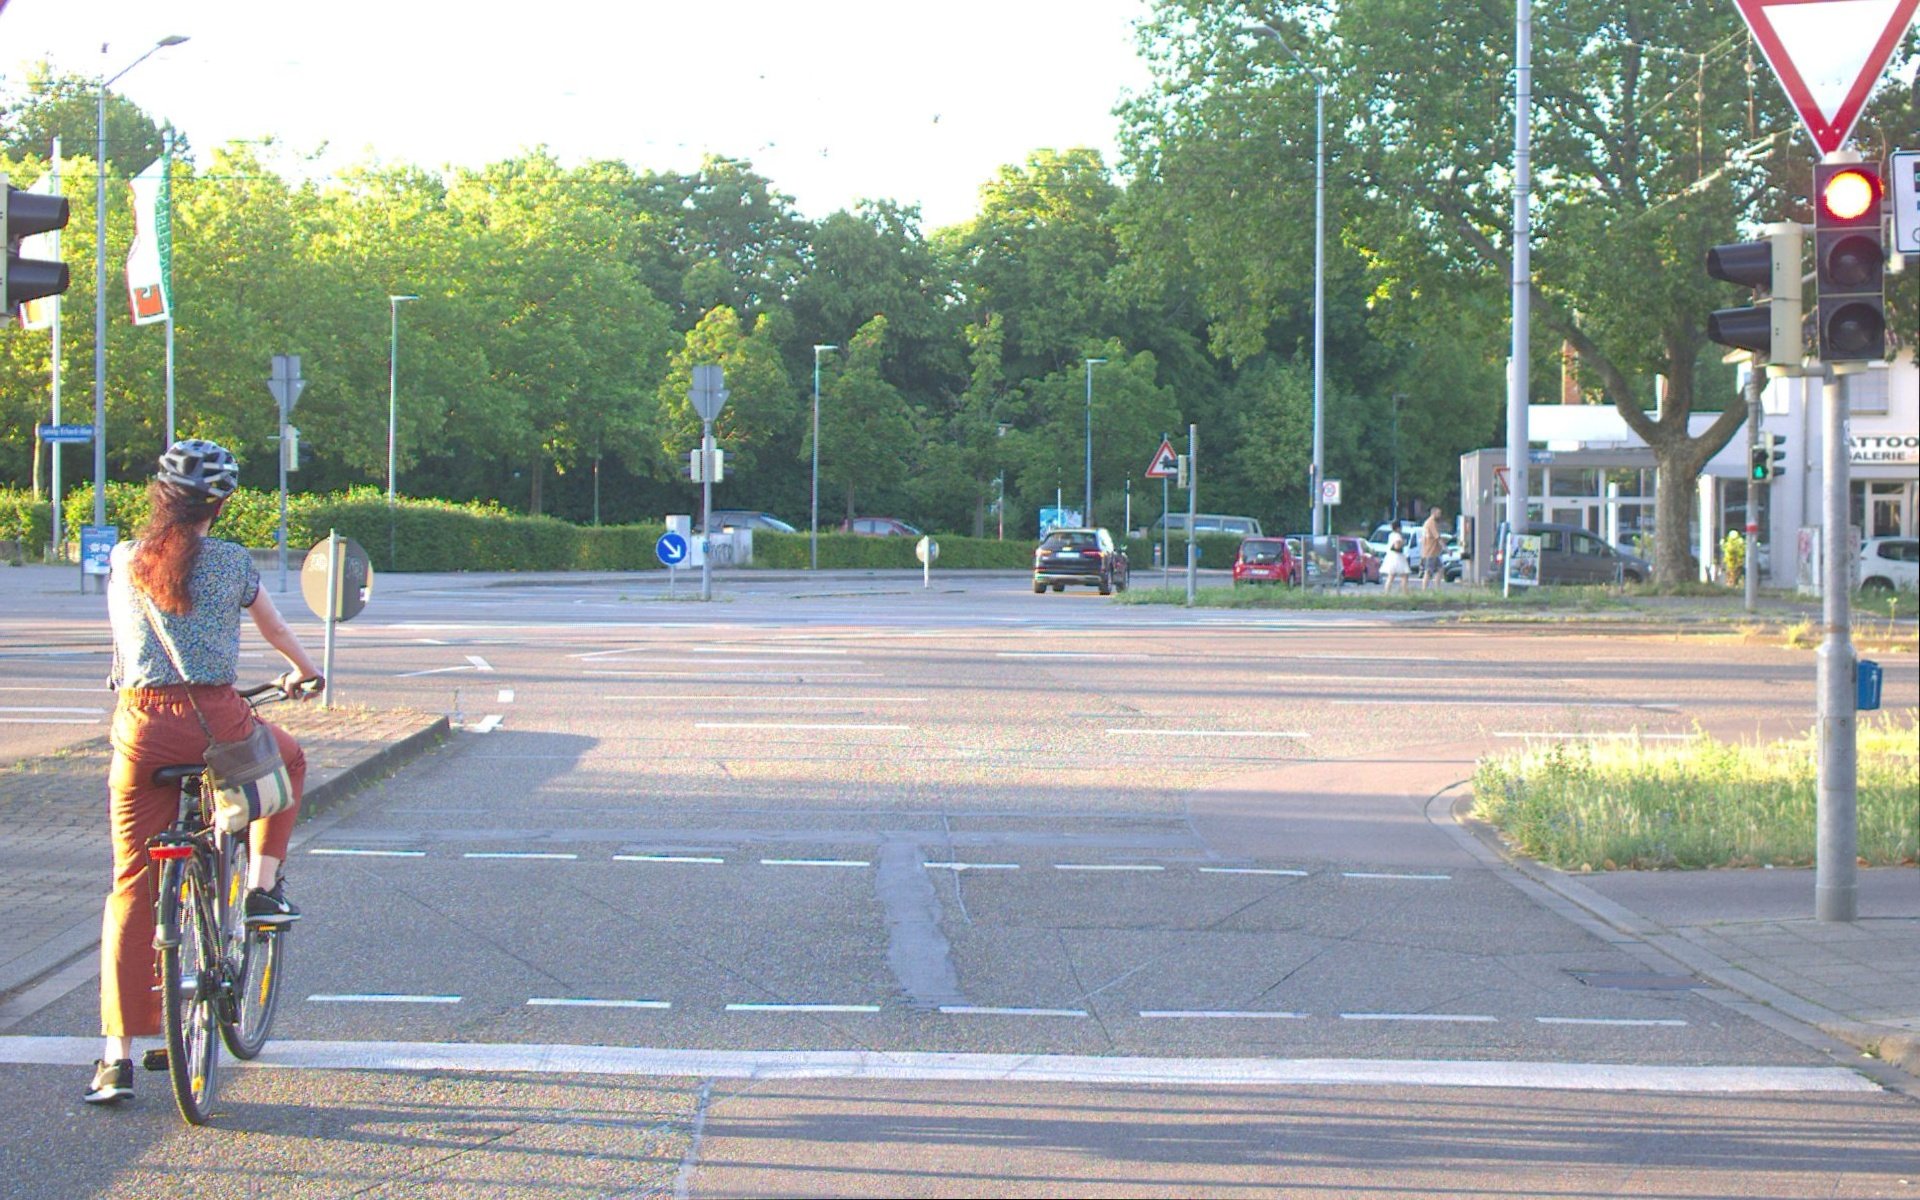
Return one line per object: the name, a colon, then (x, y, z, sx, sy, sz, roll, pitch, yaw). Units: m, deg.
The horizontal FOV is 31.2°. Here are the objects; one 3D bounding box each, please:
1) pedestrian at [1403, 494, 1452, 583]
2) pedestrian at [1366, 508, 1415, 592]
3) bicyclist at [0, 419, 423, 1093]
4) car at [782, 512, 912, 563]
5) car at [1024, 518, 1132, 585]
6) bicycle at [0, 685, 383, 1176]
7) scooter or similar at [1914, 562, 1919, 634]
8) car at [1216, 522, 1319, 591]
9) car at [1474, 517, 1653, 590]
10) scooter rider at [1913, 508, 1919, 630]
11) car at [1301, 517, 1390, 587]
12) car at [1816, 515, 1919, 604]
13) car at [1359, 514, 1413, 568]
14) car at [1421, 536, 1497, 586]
pedestrian: (9.237, -1.216, 67.879, 0.719, 1.748, 0.896, 1, 1, 24)
pedestrian: (8.550, -0.994, 68.257, 0.719, 1.633, 0.896, 1, 1, 24)
bicyclist: (-2.043, 0.388, 9.271, 1.031, 1.712, 0.996, 1, 1, -1)
car: (-3.565, -2.003, 109.142, 3.987, 1.555, 2.000, 1, 1, 1)
car: (2.849, -1.146, 82.231, 1.756, 1.535, 4.398, 1, 0, 13)
bicycle: (-2.044, 0.816, 9.265, 0.634, 1.064, 2.122, 1, 1, -1)
scooter or similar: (14.917, -0.022, 52.177, 0.510, 1.086, 1.243, 1, 1, -1)
car: (8.591, -1.226, 95.706, 1.870, 1.868, 3.870, 1, 2, 21)
car: (15.581, -1.211, 88.969, 4.378, 1.828, 1.949, 1, 1, 5)
scooter rider: (14.939, -0.464, 52.203, 0.702, 1.848, 0.669, 1, 0, -1)
car: (11.604, -1.472, 103.318, 1.916, 2.040, 3.997, 1, 2, 17)
car: (20.397, -0.853, 72.481, 4.230, 1.840, 2.000, 1, 1, 2)
car: (16.231, -2.282, 131.178, 1.994, 2.007, 3.999, 1, 1, 7)
car: (16.773, -1.332, 115.478, 1.916, 1.597, 3.997, 1, 2, 17)
